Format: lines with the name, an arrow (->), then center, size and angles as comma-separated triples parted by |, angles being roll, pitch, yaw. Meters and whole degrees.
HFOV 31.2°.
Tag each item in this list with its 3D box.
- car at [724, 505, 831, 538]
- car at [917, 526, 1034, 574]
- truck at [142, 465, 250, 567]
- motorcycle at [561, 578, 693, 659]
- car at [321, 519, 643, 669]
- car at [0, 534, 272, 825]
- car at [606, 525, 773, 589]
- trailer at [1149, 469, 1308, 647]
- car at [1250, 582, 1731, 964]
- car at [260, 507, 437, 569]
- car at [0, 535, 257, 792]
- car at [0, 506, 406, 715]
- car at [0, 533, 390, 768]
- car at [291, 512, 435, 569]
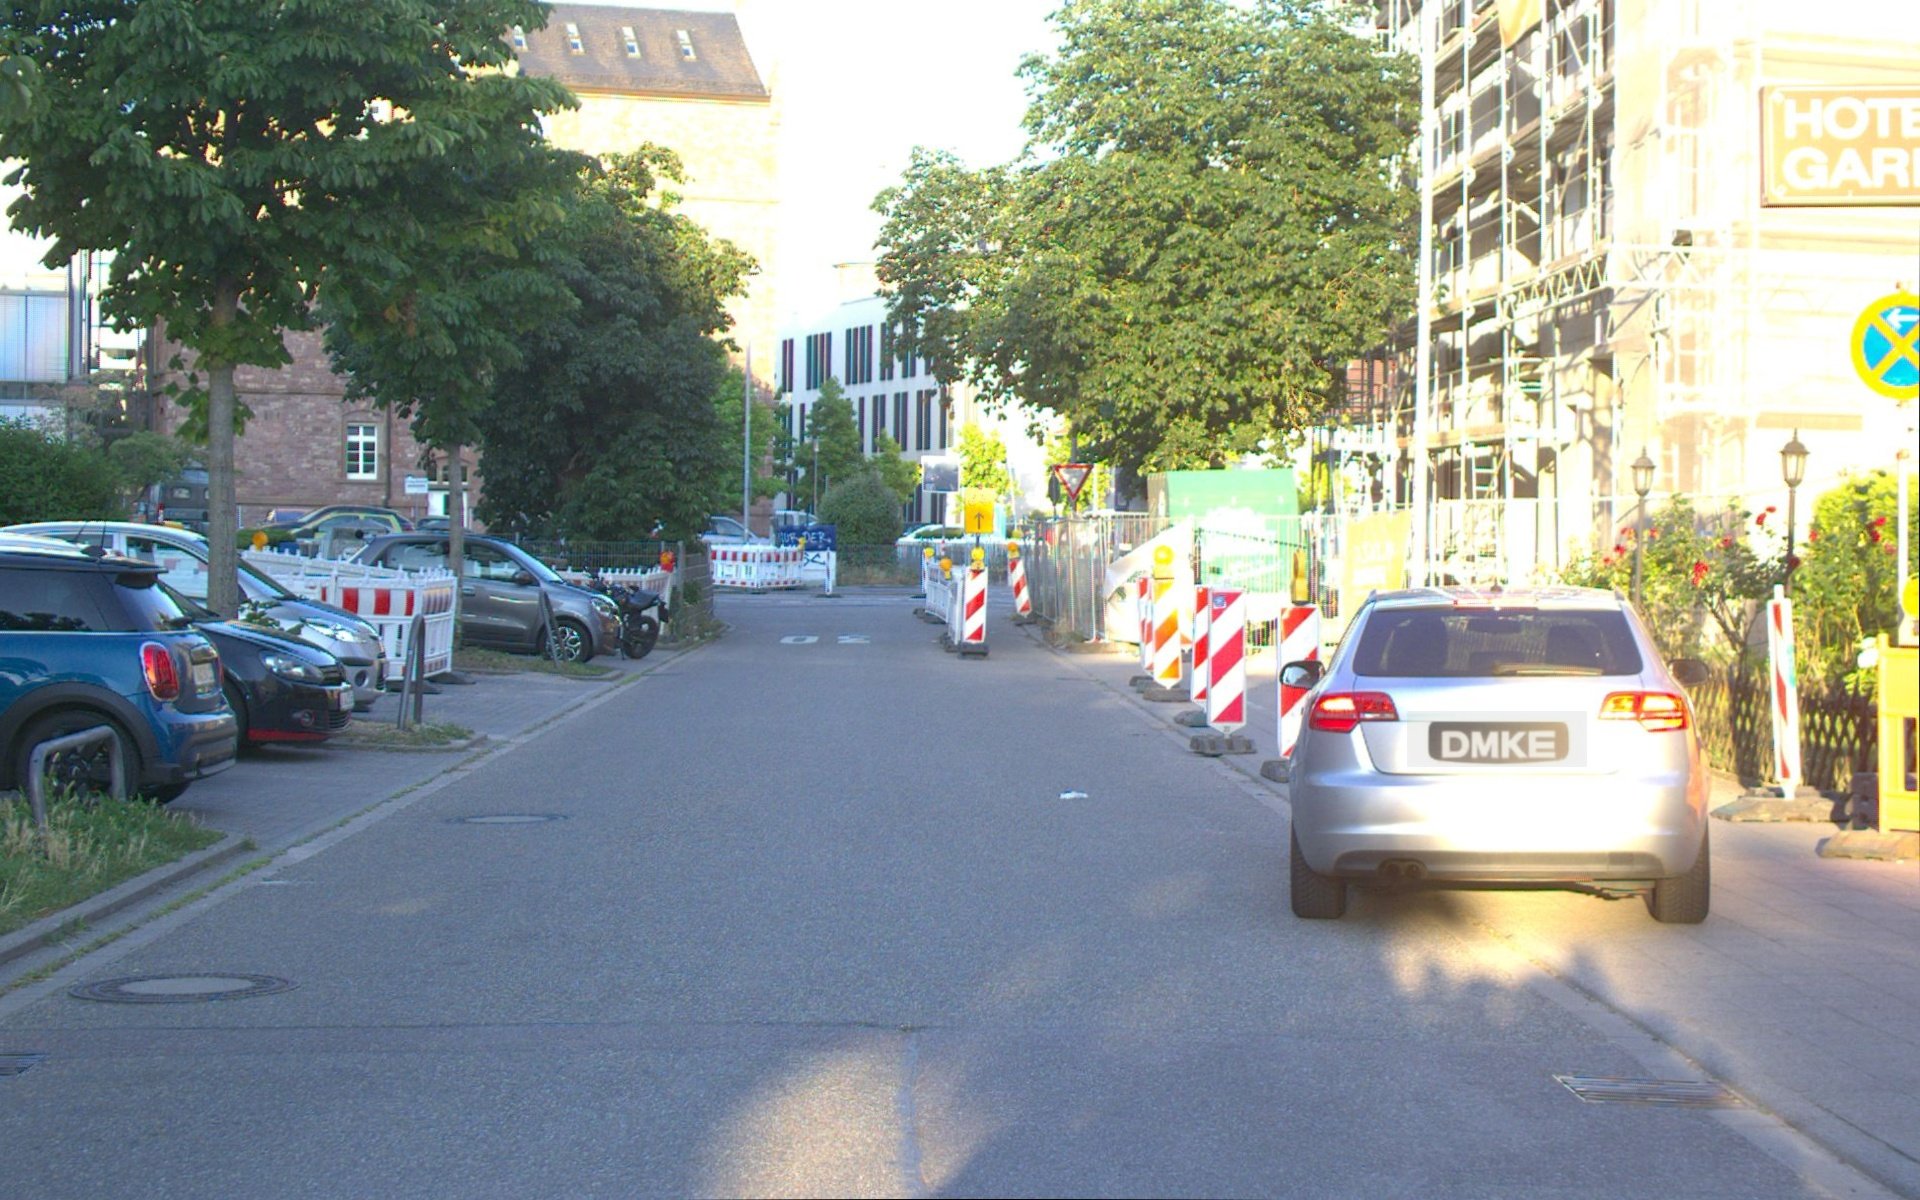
car -> -7.460, -3.196, 140.271 | 3.986, 1.308, 1.878 | 0, 1, -19
car -> 0.544, -1.773, 121.726 | 3.739, 1.597, 1.687 | 1, 1, -22
truck -> -20.472, -2.258, 91.991 | 2.333, 2.608, 4.975 | 0, 1, -18
motorcycle -> -4.379, 0.249, 45.369 | 0.538, 1.017, 2.208 | 4, 1, 28
car -> -5.776, -0.083, 41.831 | 3.623, 1.551, 1.693 | 4, 1, -1
car -> -5.713, 0.354, 18.329 | 3.677, 1.440, 1.728 | 2, 0, 1
car -> -7.428, -1.177, 94.386 | 4.268, 1.703, 1.703 | 0, 1, -20
trailer -> 3.975, -0.660, 51.542 | 1.993, 2.531, 4.186 | 1, 1, 0
car -> 2.518, 0.659, 15.515 | 1.777, 1.392, 4.105 | 1, 1, 14
car -> -16.705, -1.686, 93.913 | 4.582, 1.632, 1.576 | 0, 1, -17
car -> -6.371, 0.330, 21.156 | 3.677, 1.479, 1.728 | 2, 0, 1
car -> -6.397, 0.076, 28.155 | 3.474, 1.561, 1.728 | 2, 0, -4
car -> -6.107, 0.308, 23.788 | 3.977, 1.484, 1.728 | 2, 0, 1
car -> -15.965, -1.593, 91.902 | 3.630, 1.498, 1.638 | 0, 1, -17
